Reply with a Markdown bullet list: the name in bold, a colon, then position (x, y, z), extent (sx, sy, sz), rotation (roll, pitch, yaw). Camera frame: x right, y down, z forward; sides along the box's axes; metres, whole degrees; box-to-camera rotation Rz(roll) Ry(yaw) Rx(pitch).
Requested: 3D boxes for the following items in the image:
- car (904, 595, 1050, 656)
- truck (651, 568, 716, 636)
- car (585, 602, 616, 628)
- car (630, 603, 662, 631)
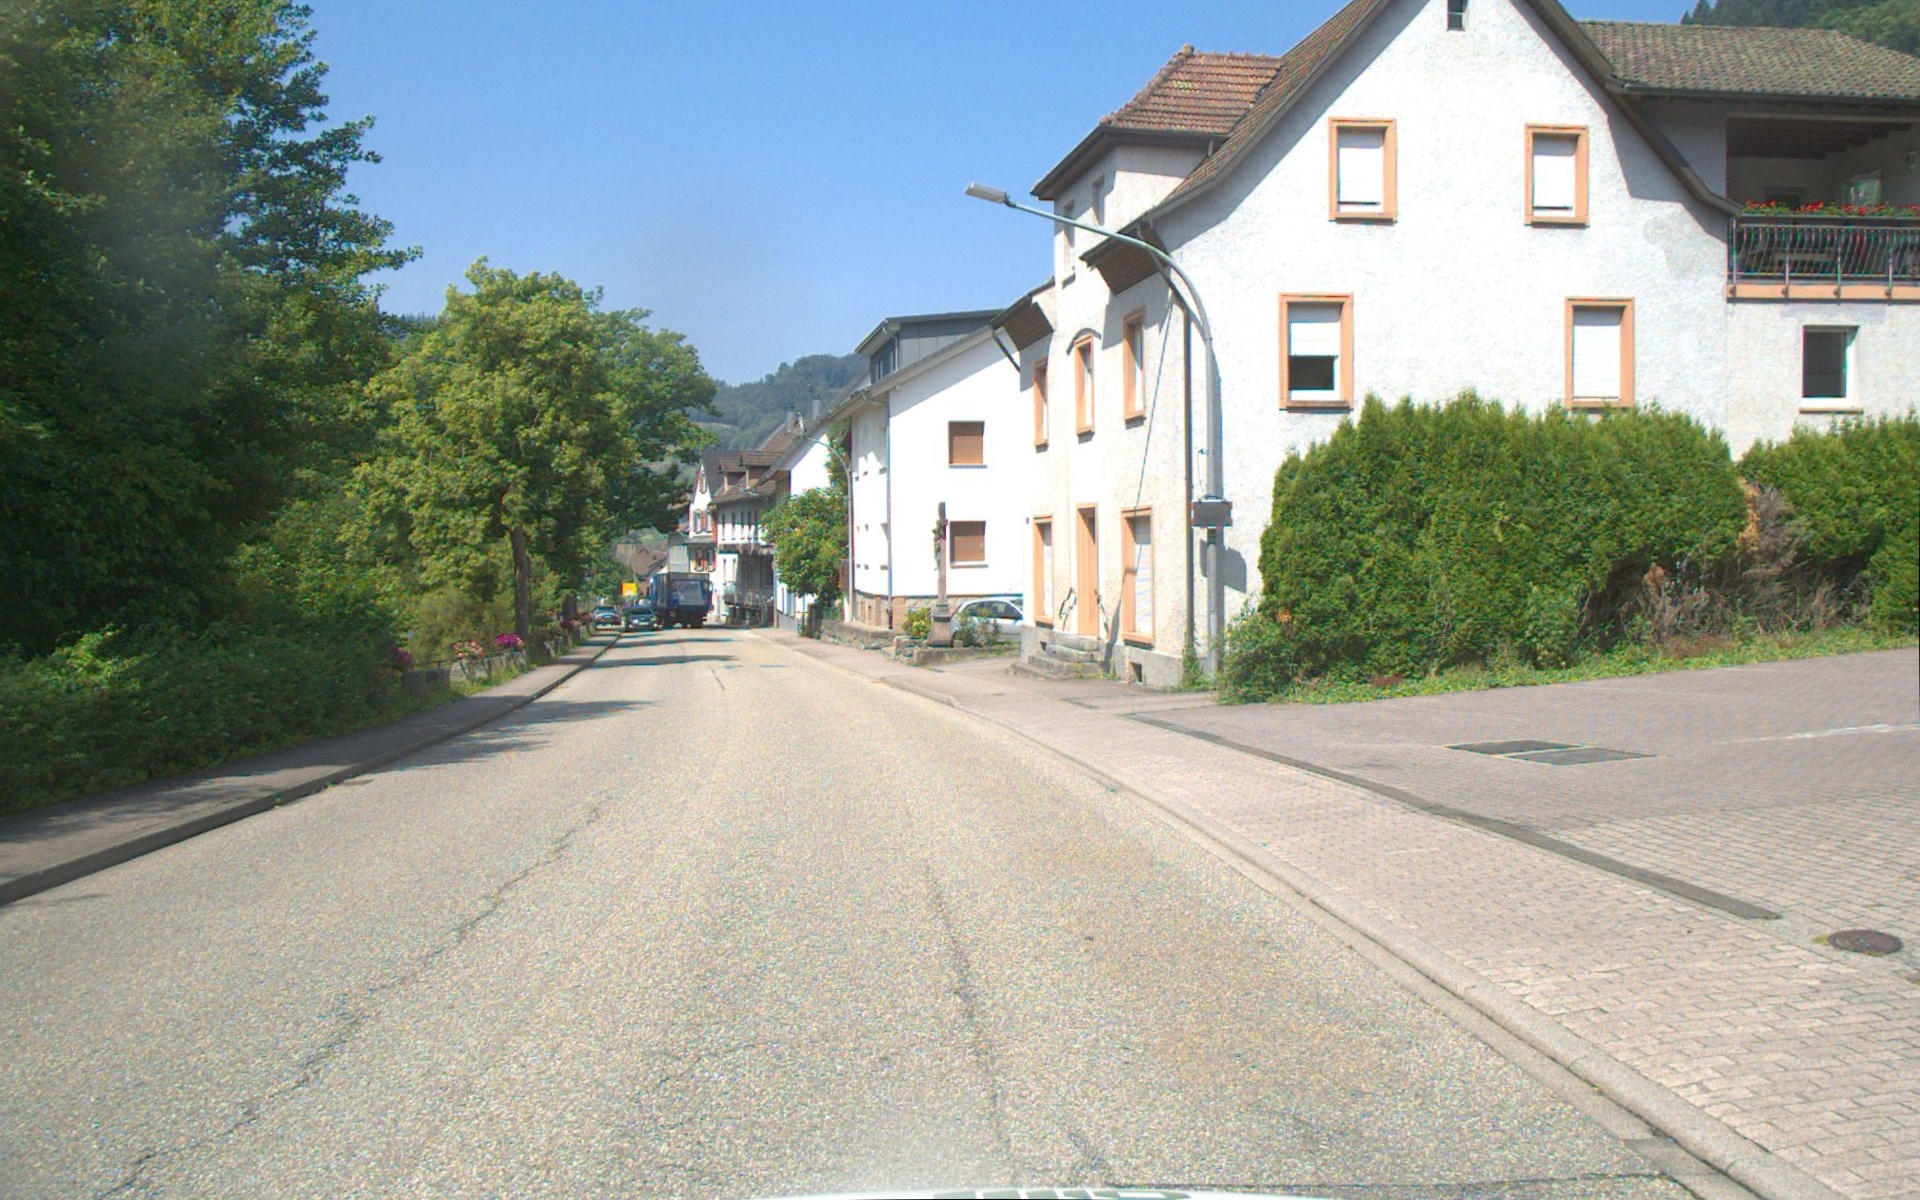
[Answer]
- **car**: position (0.446, 0.715, 45.411), extent (3.700, 1.452, 1.604), rotation (-4, 0, 35)
- **truck**: position (-17.937, 0.231, 106.764), extent (3.307, 3.847, 8.409), rotation (-5, -1, -13)
- **car**: position (-28.716, 1.217, 132.163), extent (1.749, 1.764, 3.975), rotation (-4, -1, -21)
- **car**: position (-17.837, 0.974, 94.181), extent (1.636, 1.442, 4.077), rotation (-3, 0, -10)
